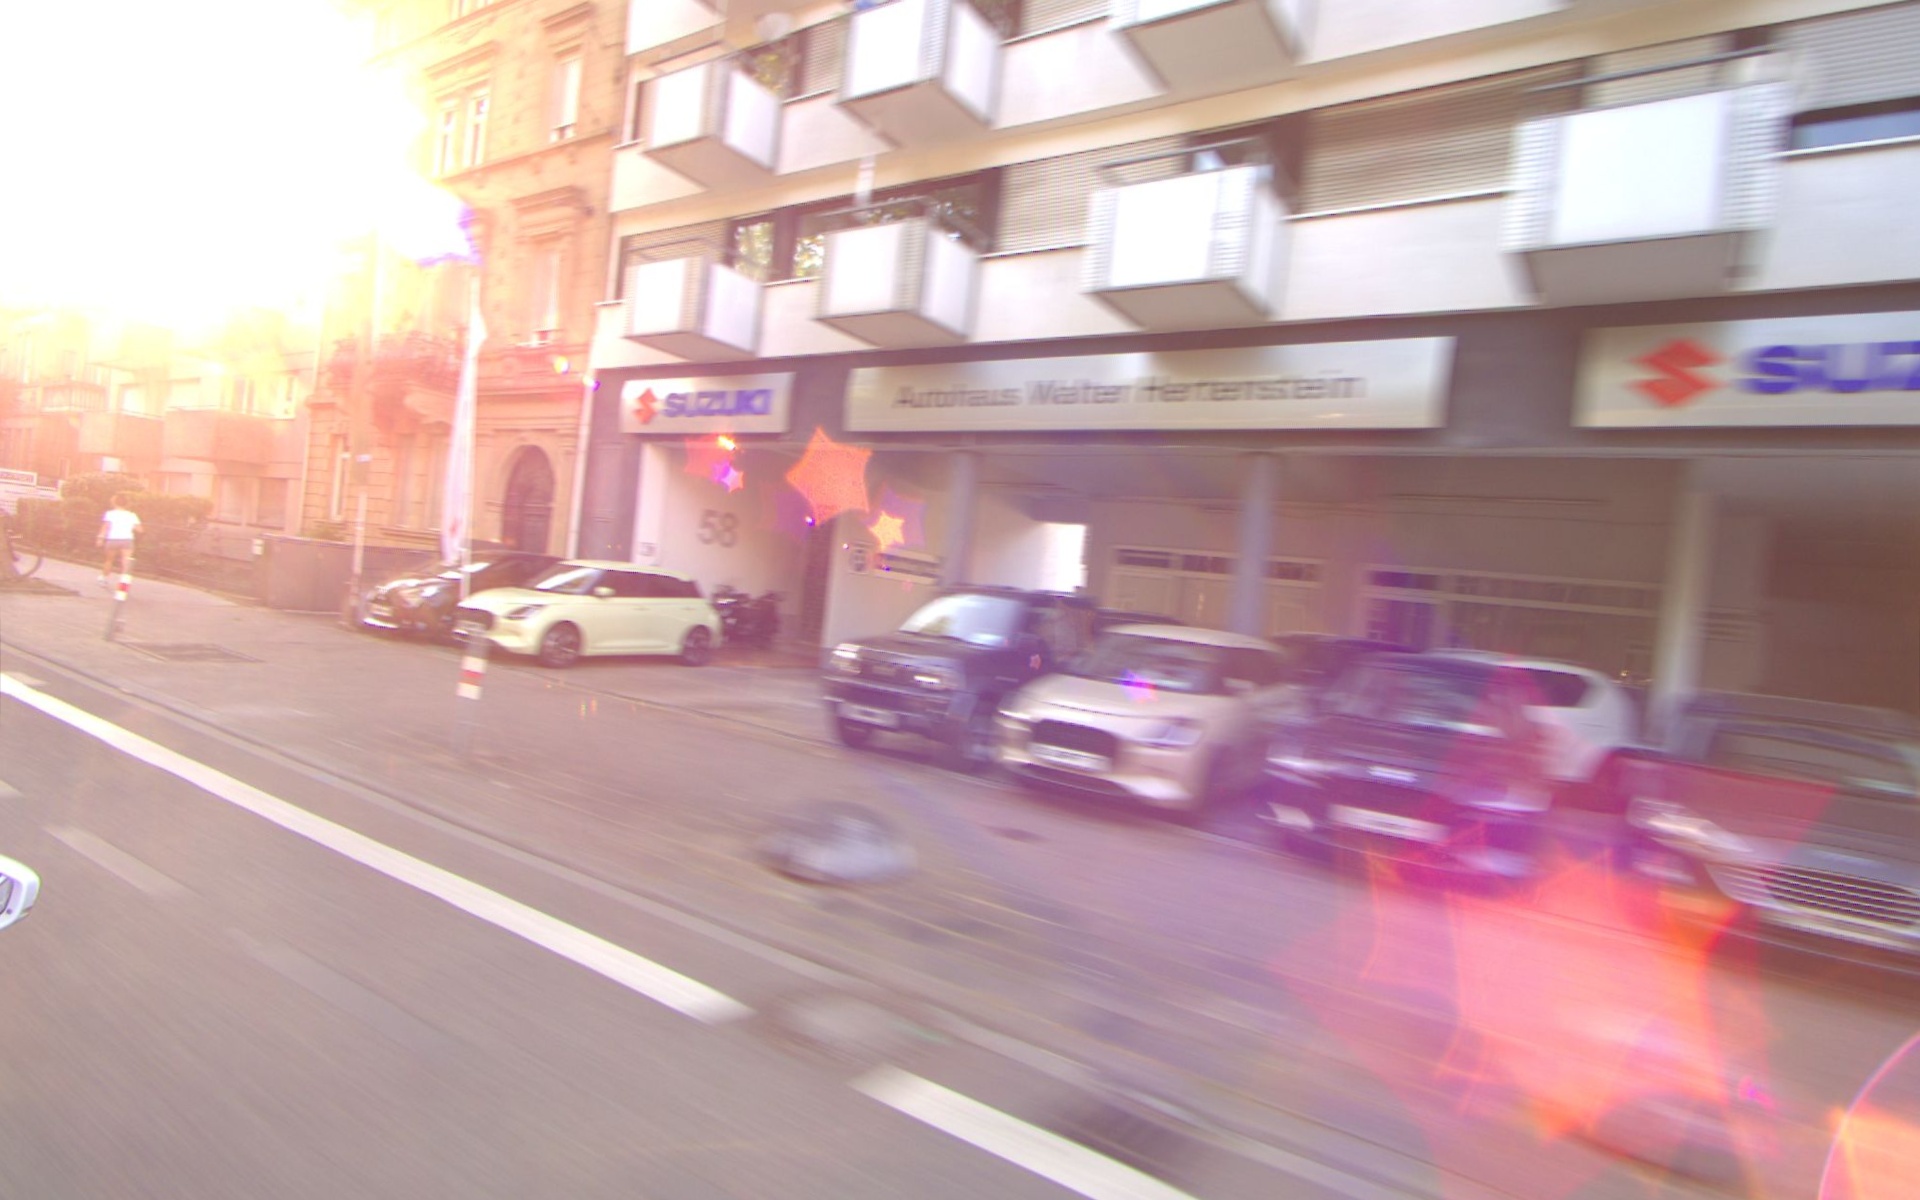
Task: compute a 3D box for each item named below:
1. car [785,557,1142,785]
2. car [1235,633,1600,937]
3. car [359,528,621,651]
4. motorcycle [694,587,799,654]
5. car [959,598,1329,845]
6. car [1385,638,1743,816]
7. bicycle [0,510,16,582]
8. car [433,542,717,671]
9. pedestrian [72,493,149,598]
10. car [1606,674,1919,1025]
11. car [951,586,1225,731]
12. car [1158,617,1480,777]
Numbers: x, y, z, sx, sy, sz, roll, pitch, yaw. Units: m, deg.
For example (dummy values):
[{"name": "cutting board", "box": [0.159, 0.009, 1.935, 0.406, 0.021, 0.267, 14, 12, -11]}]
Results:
[{"name": "car", "box": [0.202, 0.689, 10.151, 1.656, 1.741, 3.580, 8, 1, 36]}, {"name": "car", "box": [3.590, 1.184, 7.557, 1.714, 1.544, 3.417, 7, 0, 36]}, {"name": "car", "box": [-7.249, -0.100, 15.806, 1.419, 1.565, 3.421, 6, -1, 32]}, {"name": "motorcycle", "box": [-4.095, 0.411, 19.451, 0.728, 1.136, 1.930, 7, 0, 33]}, {"name": "car", "box": [1.862, 0.973, 9.093, 1.829, 1.559, 3.821, 6, 0, 33]}, {"name": "car", "box": [6.894, 1.434, 11.599, 3.294, 1.583, 1.501, 6, 0, -13]}, {"name": "bicycle", "box": [-16.096, -0.940, 15.730, 0.343, 1.157, 1.845, 6, 0, 34]}, {"name": "car", "box": [-5.536, 0.145, 14.774, 1.730, 1.537, 3.417, 5, -1, 36]}, {"name": "pedestrian", "box": [-14.267, -0.919, 16.896, 0.908, 1.649, 0.663, 6, 0, 34]}, {"name": "car", "box": [5.459, 1.388, 6.670, 1.779, 1.533, 3.872, 7, 0, 33]}, {"name": "car", "box": [1.836, 0.843, 14.864, 3.542, 1.677, 1.614, 6, 0, -13]}, {"name": "car", "box": [4.567, 1.217, 12.987, 3.469, 1.583, 1.606, 6, 0, -13]}]
